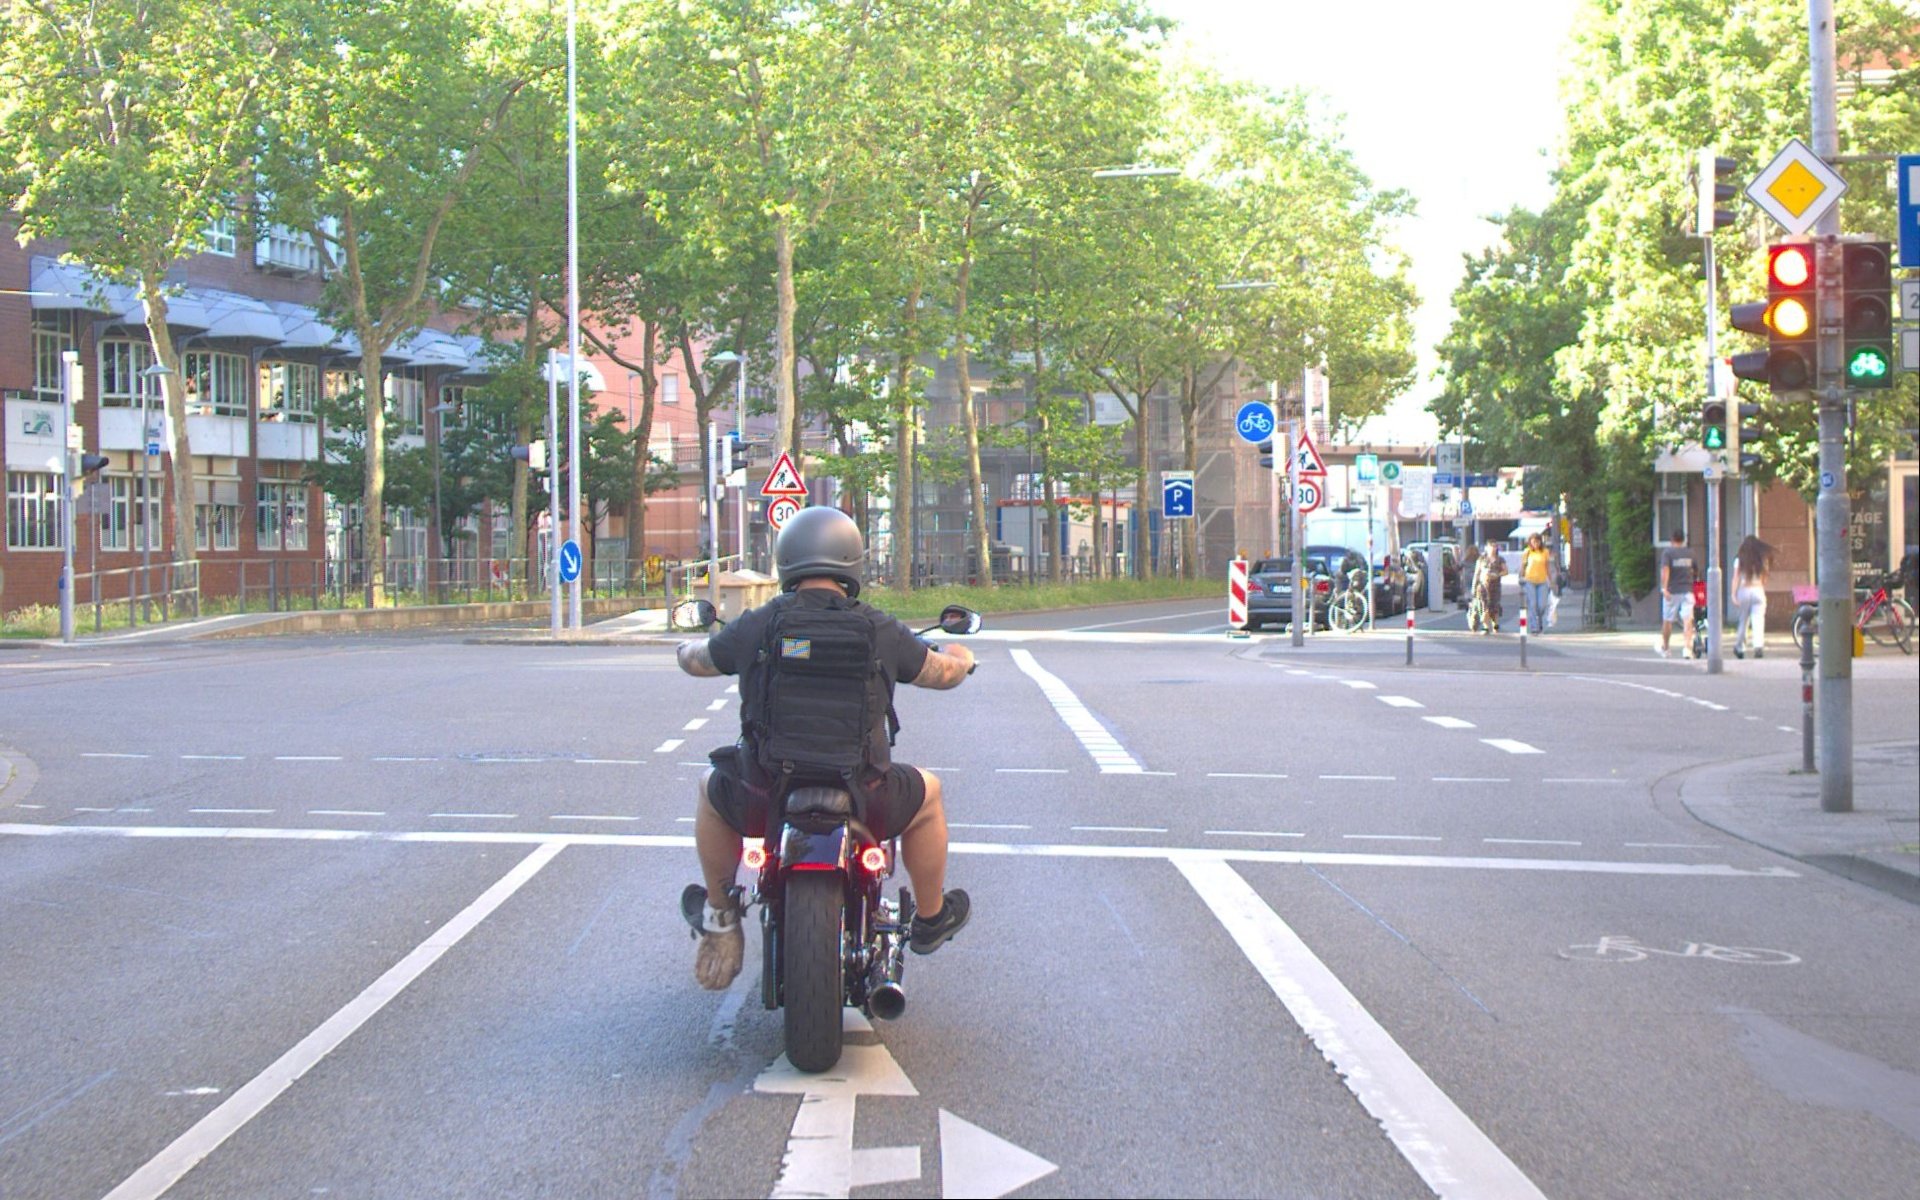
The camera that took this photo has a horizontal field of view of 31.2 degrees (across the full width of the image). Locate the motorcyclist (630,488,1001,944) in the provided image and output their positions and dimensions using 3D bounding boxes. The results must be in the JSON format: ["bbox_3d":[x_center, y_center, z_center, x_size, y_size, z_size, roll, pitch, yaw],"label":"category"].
[{"bbox_3d":[-0.402,0.315,10.038,1.011,1.258,0.774,1,1,1],"label":"motorcyclist"}]

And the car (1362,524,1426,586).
[{"bbox_3d":[11.652,-1.218,92.155,1.621,1.604,3.773,-1,1,8],"label":"car"}]

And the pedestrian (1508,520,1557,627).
[{"bbox_3d":[9.353,-0.439,56.200,0.700,1.727,0.767,-1,1,4],"label":"pedestrian"}]

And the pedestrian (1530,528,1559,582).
[{"bbox_3d":[15.836,-1.214,93.112,0.765,1.440,0.780,0,1,9],"label":"pedestrian"}]

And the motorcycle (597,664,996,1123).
[{"bbox_3d":[-0.413,0.779,9.888,1.018,1.093,2.008,-1,1,1],"label":"motorcycle"}]

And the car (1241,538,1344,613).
[{"bbox_3d":[6.095,-0.470,62.790,1.621,1.298,4.310,-1,1,9],"label":"car"}]

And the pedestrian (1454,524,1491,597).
[{"bbox_3d":[11.662,-0.900,78.266,0.762,1.639,0.547,-1,1,3],"label":"pedestrian"}]

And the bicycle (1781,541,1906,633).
[{"bbox_3d":[12.039,-0.186,46.854,1.567,1.223,0.577,-1,1,6],"label":"bicycle"}]

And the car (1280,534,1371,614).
[{"bbox_3d":[7.790,-0.570,73.041,1.621,1.614,4.483,-1,1,10],"label":"car"}]

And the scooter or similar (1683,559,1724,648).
[{"bbox_3d":[9.884,0.041,45.727,0.394,1.154,1.249,-1,1,6],"label":"scooter or similar"}]

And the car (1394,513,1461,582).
[{"bbox_3d":[14.078,-1.602,103.309,1.836,2.007,4.386,-1,1,10],"label":"car"}]

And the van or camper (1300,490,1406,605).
[{"bbox_3d":[9.101,-1.223,79.258,2.049,2.532,5.771,-1,1,10],"label":"van or camper"}]

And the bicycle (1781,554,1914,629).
[{"bbox_3d":[12.882,-0.123,49.908,1.749,1.049,0.738,0,1,28],"label":"bicycle"}]

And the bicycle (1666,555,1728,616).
[{"bbox_3d":[11.806,-0.242,55.117,0.737,0.936,1.752,-1,1,4],"label":"bicycle"}]

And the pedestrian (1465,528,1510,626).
[{"bbox_3d":[8.644,-0.381,56.366,0.644,1.573,0.748,-1,1,4],"label":"pedestrian"}]

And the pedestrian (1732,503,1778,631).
[{"bbox_3d":[10.431,-0.439,45.117,0.459,1.667,0.680,-1,1,3],"label":"pedestrian"}]

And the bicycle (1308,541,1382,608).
[{"bbox_3d":[6.242,-0.419,55.791,0.737,1.049,1.753,-1,1,-9],"label":"bicycle"}]

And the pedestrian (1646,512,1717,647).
[{"bbox_3d":[9.536,-0.279,45.462,0.785,1.757,0.610,-1,1,0],"label":"pedestrian"}]
